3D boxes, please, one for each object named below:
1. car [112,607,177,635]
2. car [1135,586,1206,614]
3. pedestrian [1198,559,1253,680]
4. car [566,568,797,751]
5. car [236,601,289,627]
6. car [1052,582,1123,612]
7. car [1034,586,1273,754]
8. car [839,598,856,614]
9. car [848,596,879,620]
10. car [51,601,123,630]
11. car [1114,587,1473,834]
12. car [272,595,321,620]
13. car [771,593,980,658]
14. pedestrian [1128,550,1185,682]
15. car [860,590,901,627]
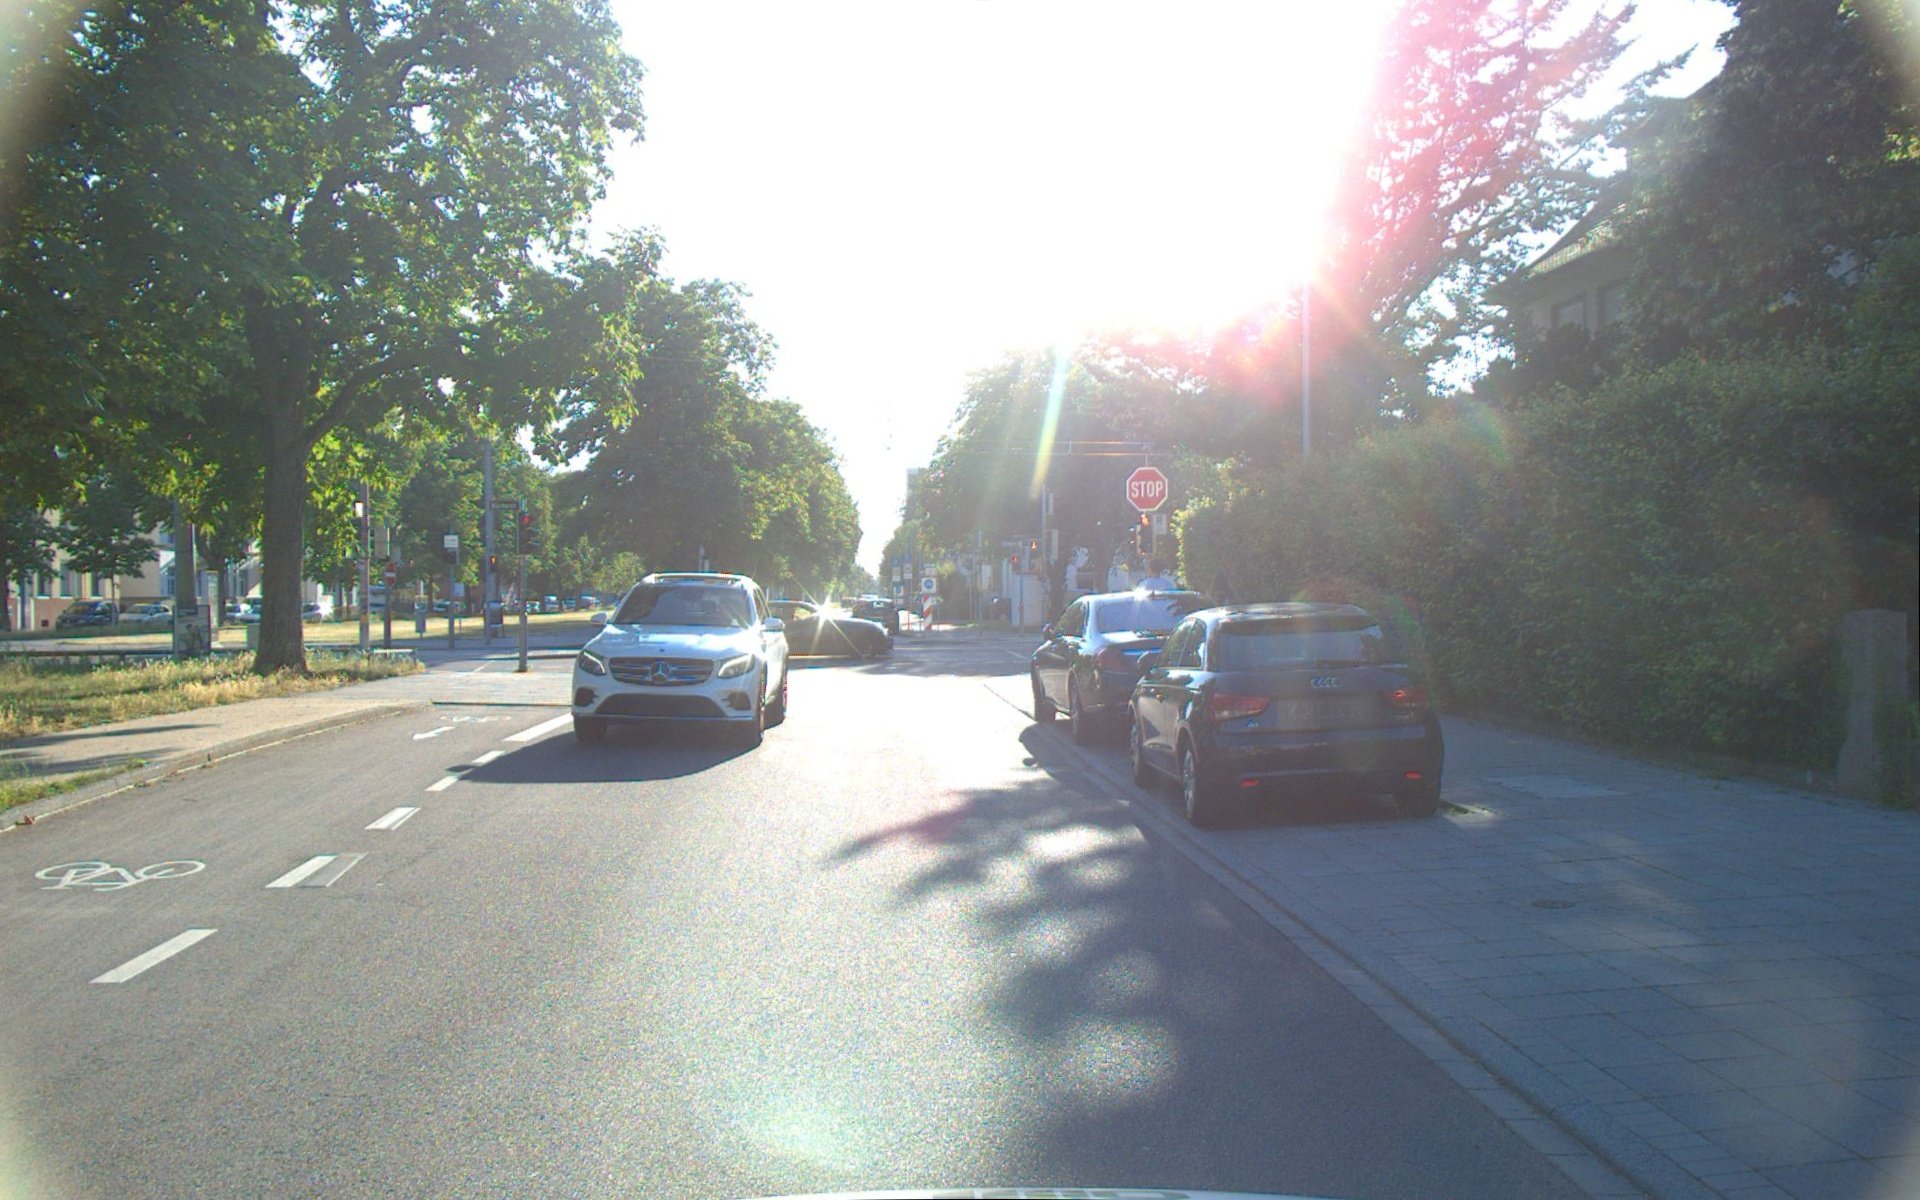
[{"bbox_3d":[-47.228,1.203,95.811,1.701,1.452,3.794,0,2,3],"label":"car"},{"bbox_3d":[11.489,-0.006,90.511,3.594,1.452,1.529,0,0,-7],"label":"car"},{"bbox_3d":[3.855,0.279,24.077,0.656,1.738,0.622,0,0,-6],"label":"pedestrian"},{"bbox_3d":[-2.840,0.549,17.804,1.853,1.706,4.423,1,0,-2],"label":"car"},{"bbox_3d":[-41.773,0.826,99.095,1.703,1.452,3.790,0,0,-2],"label":"car"},{"bbox_3d":[6.960,-0.173,90.462,3.704,1.552,1.743,0,2,-3],"label":"car"},{"bbox_3d":[1.943,0.649,18.074,1.822,1.569,4.870,-1,0,-3],"label":"car"},{"bbox_3d":[-15.094,0.774,222.395,2.091,2.049,3.900,0,0,-2],"label":"car"},{"bbox_3d":[-5.974,0.482,102.624,1.808,1.418,3.827,0,0,-2],"label":"car"},{"bbox_3d":[-47.231,0.802,89.556,1.701,1.422,3.794,0,2,3],"label":"car"},{"bbox_3d":[2.252,0.670,12.200,1.608,1.452,3.934,-2,0,-3],"label":"car"},{"bbox_3d":[-42.174,0.445,105.214,1.703,1.452,3.791,0,2,-2],"label":"car"},{"bbox_3d":[-2.018,0.577,38.983,4.684,1.459,1.808,0,0,-14],"label":"car"},{"bbox_3d":[2.873,0.228,24.232,0.657,1.898,0.880,0,0,-6],"label":"pedestrian"},{"bbox_3d":[-3.280,0.348,68.746,1.607,1.476,3.307,0,0,-1],"label":"car"}]
